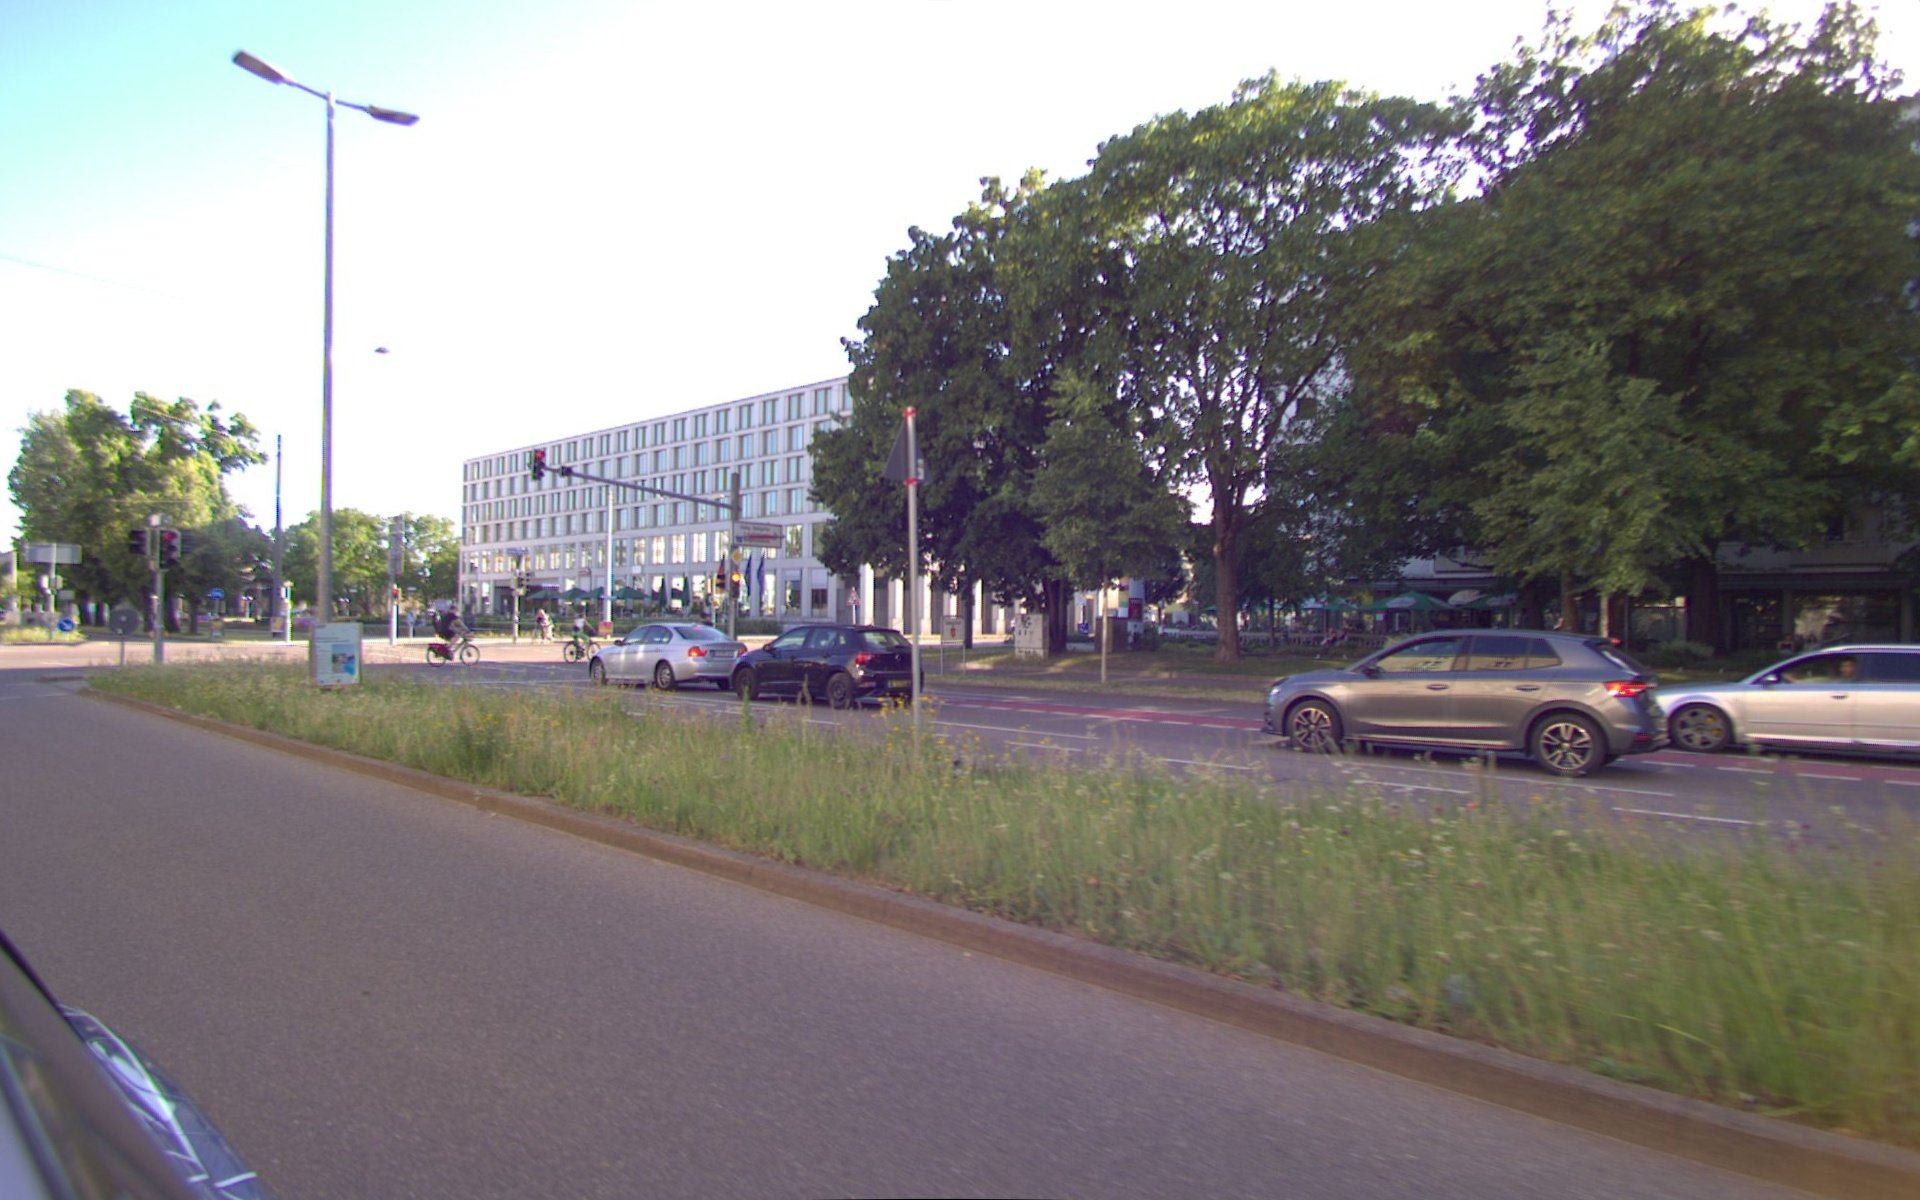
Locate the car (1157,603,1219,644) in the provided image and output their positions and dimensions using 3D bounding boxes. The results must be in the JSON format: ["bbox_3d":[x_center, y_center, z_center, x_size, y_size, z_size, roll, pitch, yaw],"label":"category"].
[{"bbox_3d":[17.028,1.732,75.322,2.597,2.975,5.023,-1,-2,38],"label":"car"}]

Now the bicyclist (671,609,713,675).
[{"bbox_3d":[-7.032,1.090,26.559,0.771,1.692,0.841,2,-2,-34],"label":"bicyclist"}]

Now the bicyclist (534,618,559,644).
[{"bbox_3d":[-22.295,1.674,54.618,0.826,1.372,0.959,-1,-2,41],"label":"bicyclist"}]

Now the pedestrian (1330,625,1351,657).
[{"bbox_3d":[16.378,1.748,43.521,0.599,1.350,0.723,-1,-2,44],"label":"pedestrian"}]

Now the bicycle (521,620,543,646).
[{"bbox_3d":[-20.602,1.579,48.761,0.832,1.240,2.021,1,-1,-20],"label":"bicycle"}]

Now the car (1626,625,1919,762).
[{"bbox_3d":[11.163,1.122,12.581,4.587,1.538,1.912,-1,-3,42],"label":"car"}]

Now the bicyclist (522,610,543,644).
[{"bbox_3d":[-20.589,1.287,48.728,0.837,1.631,0.976,1,-2,-19],"label":"bicyclist"}]

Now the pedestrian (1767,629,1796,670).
[{"bbox_3d":[27.437,1.652,33.813,0.665,1.350,0.895,-1,-2,44],"label":"pedestrian"}]

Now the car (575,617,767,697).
[{"bbox_3d":[-6.463,1.181,22.373,4.548,1.572,1.972,-1,-2,42],"label":"car"}]

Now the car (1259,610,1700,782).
[{"bbox_3d":[5.704,0.921,11.371,4.059,1.576,1.972,-1,-2,42],"label":"car"}]

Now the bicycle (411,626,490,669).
[{"bbox_3d":[-15.718,1.439,31.247,0.778,1.249,1.993,1,0,41],"label":"bicycle"}]

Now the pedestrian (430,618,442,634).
[{"bbox_3d":[-50.173,2.526,96.894,0.762,1.537,0.774,-1,-2,42],"label":"pedestrian"}]

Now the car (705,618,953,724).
[{"bbox_3d":[-2.467,1.178,18.367,4.548,1.688,1.972,-1,-2,42],"label":"car"}]

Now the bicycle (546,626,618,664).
[{"bbox_3d":[-13.254,1.572,35.544,0.778,1.249,2.281,1,0,41],"label":"bicycle"}]

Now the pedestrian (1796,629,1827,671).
[{"bbox_3d":[28.030,1.626,33.311,0.716,1.350,0.817,-1,-2,44],"label":"pedestrian"}]

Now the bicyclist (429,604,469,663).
[{"bbox_3d":[-15.756,1.029,31.186,0.754,1.756,0.827,1,-1,41],"label":"bicyclist"}]

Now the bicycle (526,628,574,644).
[{"bbox_3d":[-22.178,1.946,54.758,0.843,0.858,2.304,-1,-2,41],"label":"bicycle"}]

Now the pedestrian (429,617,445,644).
[{"bbox_3d":[-30.092,1.727,58.258,0.602,1.537,0.616,-1,-2,37],"label":"pedestrian"}]

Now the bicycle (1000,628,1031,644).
[{"bbox_3d":[3.189,2.060,58.298,1.601,0.896,0.761,0,-2,33],"label":"bicycle"}]

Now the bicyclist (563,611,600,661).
[{"bbox_3d":[-13.278,1.256,35.488,0.775,1.703,0.912,1,-1,41],"label":"bicyclist"}]
